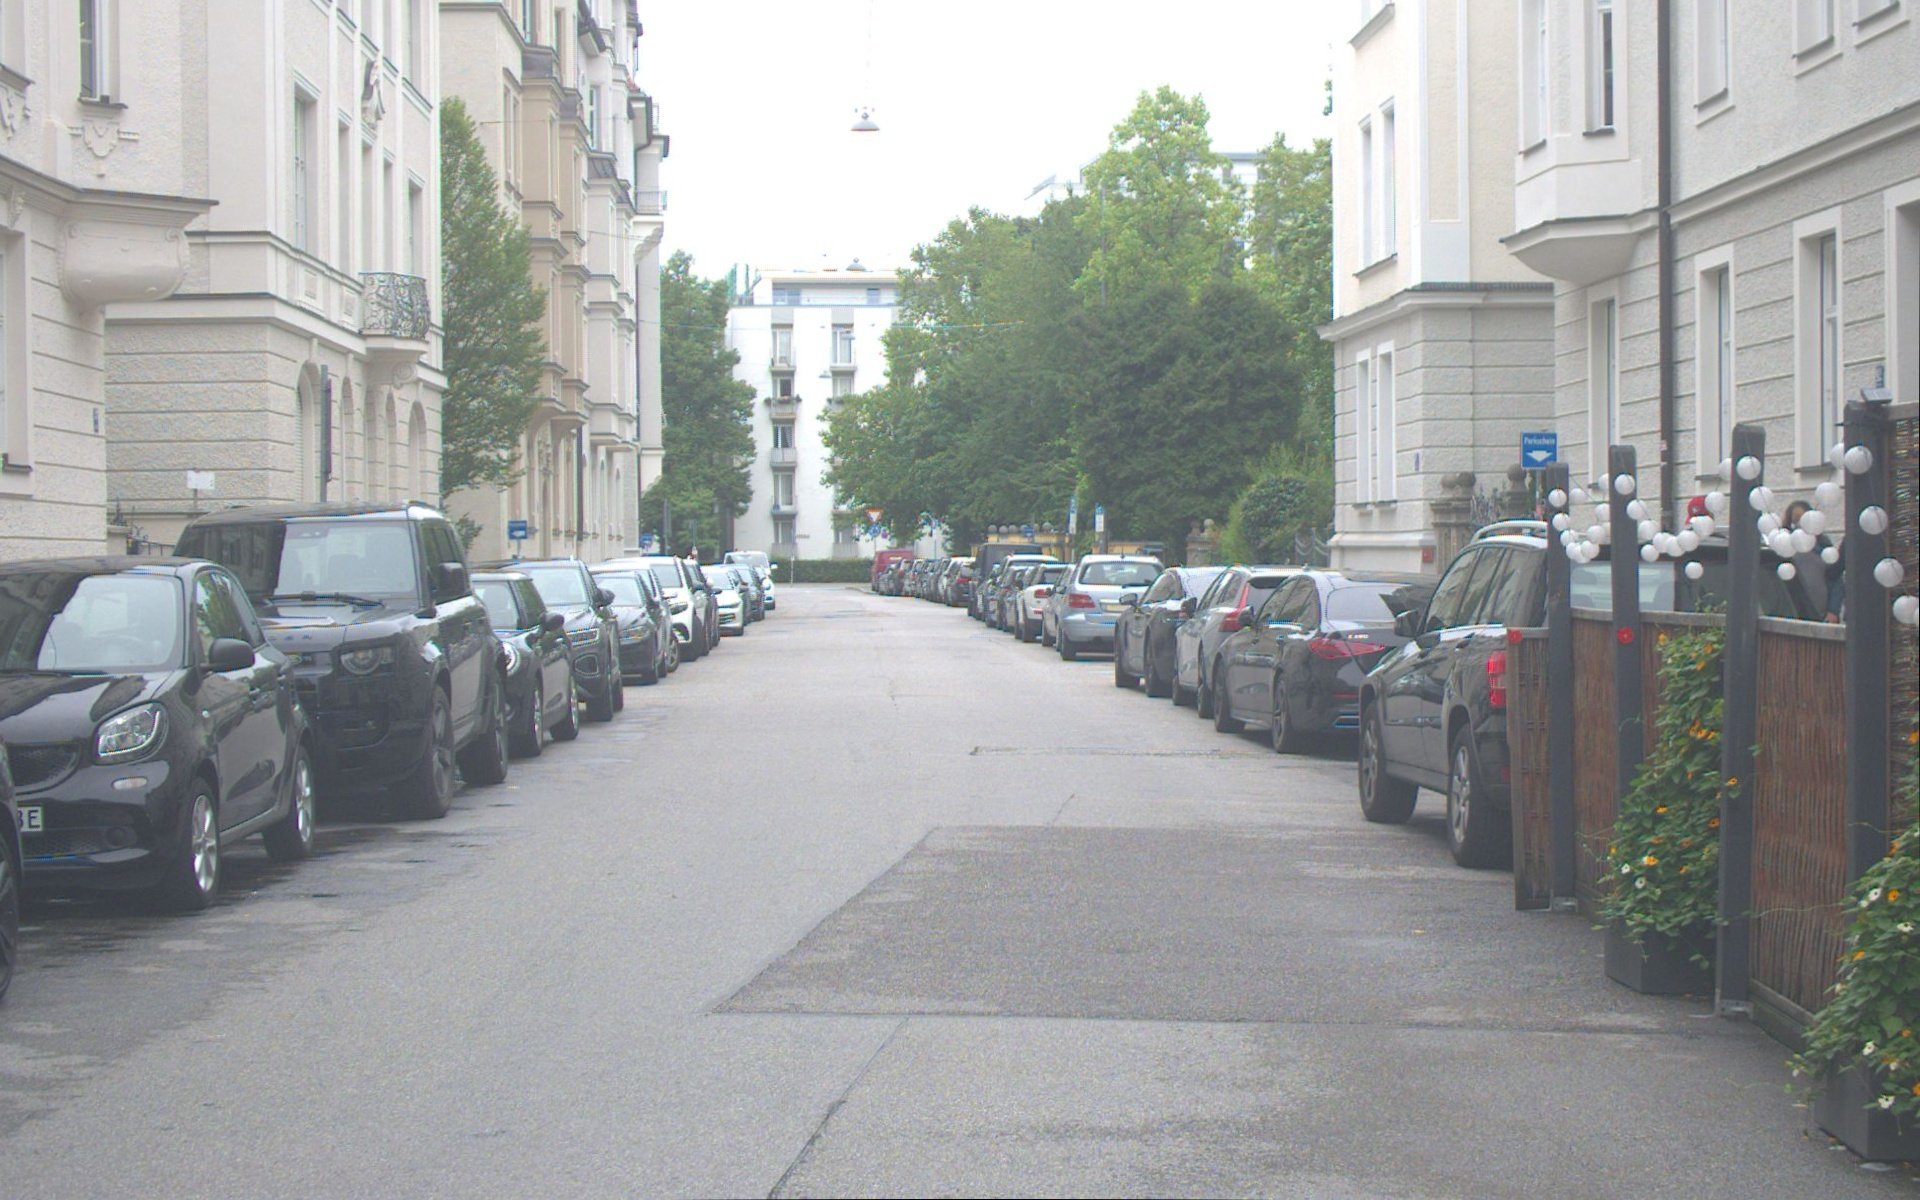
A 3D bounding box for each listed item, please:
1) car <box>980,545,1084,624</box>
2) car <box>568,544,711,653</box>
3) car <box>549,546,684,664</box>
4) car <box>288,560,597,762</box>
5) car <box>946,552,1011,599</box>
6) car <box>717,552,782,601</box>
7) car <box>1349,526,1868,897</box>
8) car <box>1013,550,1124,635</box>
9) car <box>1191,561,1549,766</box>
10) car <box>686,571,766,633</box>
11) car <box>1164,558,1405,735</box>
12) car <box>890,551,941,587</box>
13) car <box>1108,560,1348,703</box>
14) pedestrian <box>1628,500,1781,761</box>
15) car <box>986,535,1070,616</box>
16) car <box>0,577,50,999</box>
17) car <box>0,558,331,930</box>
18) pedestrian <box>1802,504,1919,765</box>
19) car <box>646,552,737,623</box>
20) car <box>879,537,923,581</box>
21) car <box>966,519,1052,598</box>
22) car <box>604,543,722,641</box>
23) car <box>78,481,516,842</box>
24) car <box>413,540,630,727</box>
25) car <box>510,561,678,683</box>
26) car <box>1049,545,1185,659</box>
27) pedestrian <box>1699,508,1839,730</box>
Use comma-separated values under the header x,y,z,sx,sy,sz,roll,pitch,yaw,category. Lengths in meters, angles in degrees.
x,y,z,sx,sy,sz,roll,pitch,yaw,category
1.555,-0.358,75.572,1.750,1.605,4.425,2,1,-5,car
-4.985,-0.063,53.970,1.915,1.613,4.572,0,1,-1,car
-4.870,0.037,48.976,1.782,1.536,4.258,-2,1,-5,car
-4.048,0.425,27.536,1.836,1.389,4.245,-2,1,-1,car
0.563,-0.775,108.129,1.838,1.408,4.343,1,0,-2,car
-6.741,-0.762,110.492,1.836,1.433,4.275,-3,1,-1,car
3.160,0.463,17.586,1.800,1.669,4.189,0,1,-1,car
1.964,-0.161,63.253,1.784,1.499,4.065,1,1,-2,car
3.187,0.444,27.765,1.836,1.394,4.975,2,1,-5,car
-6.078,0.027,89.773,1.836,1.431,4.245,-3,1,-1,car
3.060,0.390,33.236,1.760,1.480,4.421,2,1,-1,car
-1.904,-1.323,146.903,1.838,1.513,3.948,1,0,-5,car
2.901,0.299,38.188,1.993,1.452,4.713,0,1,-4,car
5.281,0.203,24.451,0.883,1.805,1.111,0,1,3,pedestrian
1.564,-0.568,80.643,1.723,1.763,4.413,2,0,-1,car
-4.079,0.672,10.023,1.654,1.402,4.092,-1,1,1,car
-4.025,0.583,15.991,1.616,1.508,3.532,-1,1,-2,car
6.450,0.226,24.084,0.883,1.780,1.111,0,1,4,pedestrian
-5.822,-0.293,74.922,1.836,1.429,4.245,-2,1,-3,car
-2.707,-1.884,157.691,1.836,1.920,4.005,2,1,0,car
1.248,-1.112,90.045,1.950,1.947,4.666,1,2,-2,car
-5.109,-0.177,59.561,1.836,1.613,4.245,0,1,-2,car
-3.883,0.281,20.938,1.836,1.888,4.764,-2,1,-2,car
-4.124,0.274,32.889,1.726,1.613,4.122,-2,1,-3,car
-4.658,0.248,44.286,1.792,1.410,4.279,-3,1,-2,car
2.343,-0.010,52.346,1.822,1.564,4.400,2,1,0,car
6.695,0.141,28.501,0.883,1.807,1.111,0,1,-1,pedestrian
